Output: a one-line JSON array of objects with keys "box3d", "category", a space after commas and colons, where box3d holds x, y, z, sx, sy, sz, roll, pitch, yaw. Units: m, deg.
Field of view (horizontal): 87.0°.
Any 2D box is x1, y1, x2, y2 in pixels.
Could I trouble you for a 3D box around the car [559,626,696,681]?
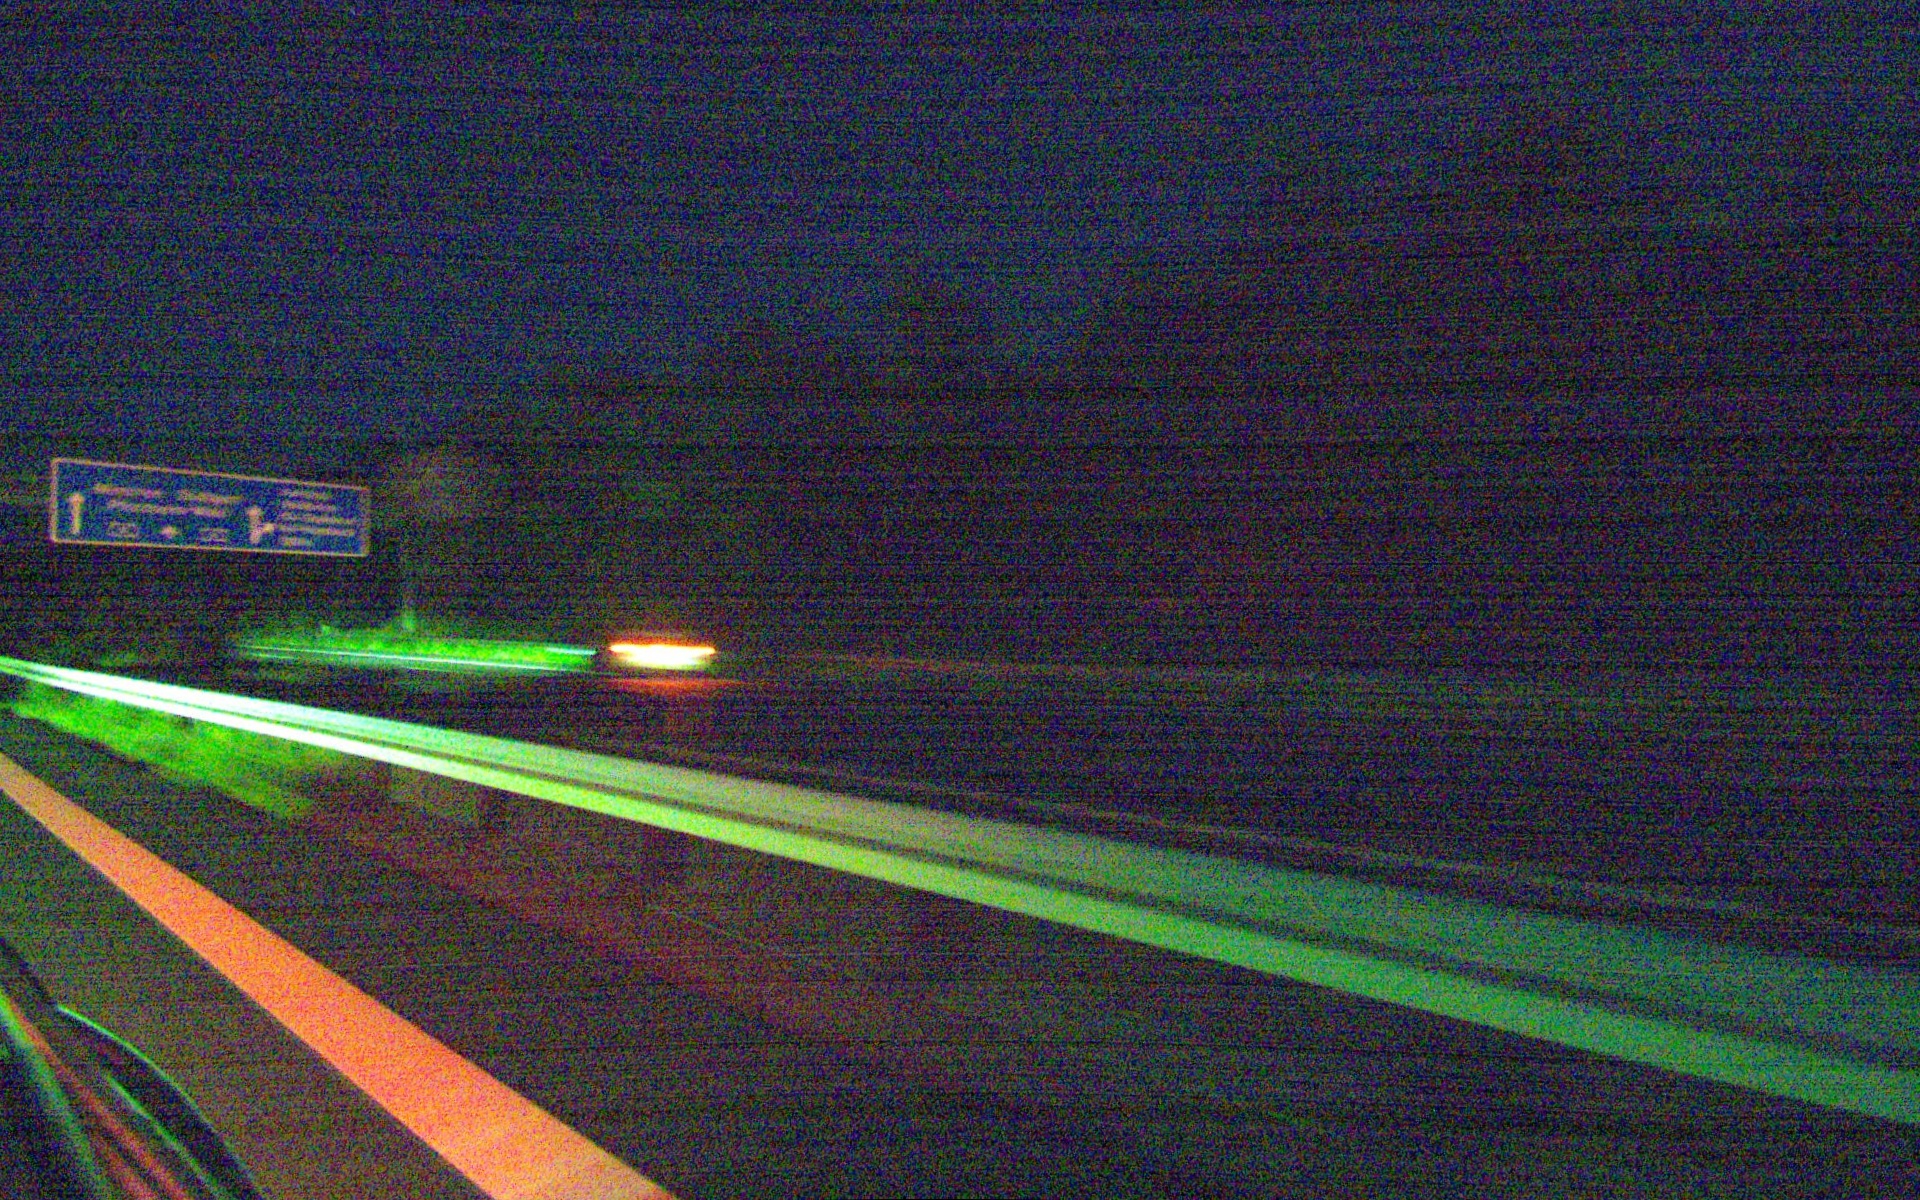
[{"box3d": [-10.227, 1.618, 30.974, 4.547, 1.553, 1.772, -1, -5, 39], "category": "car"}]
